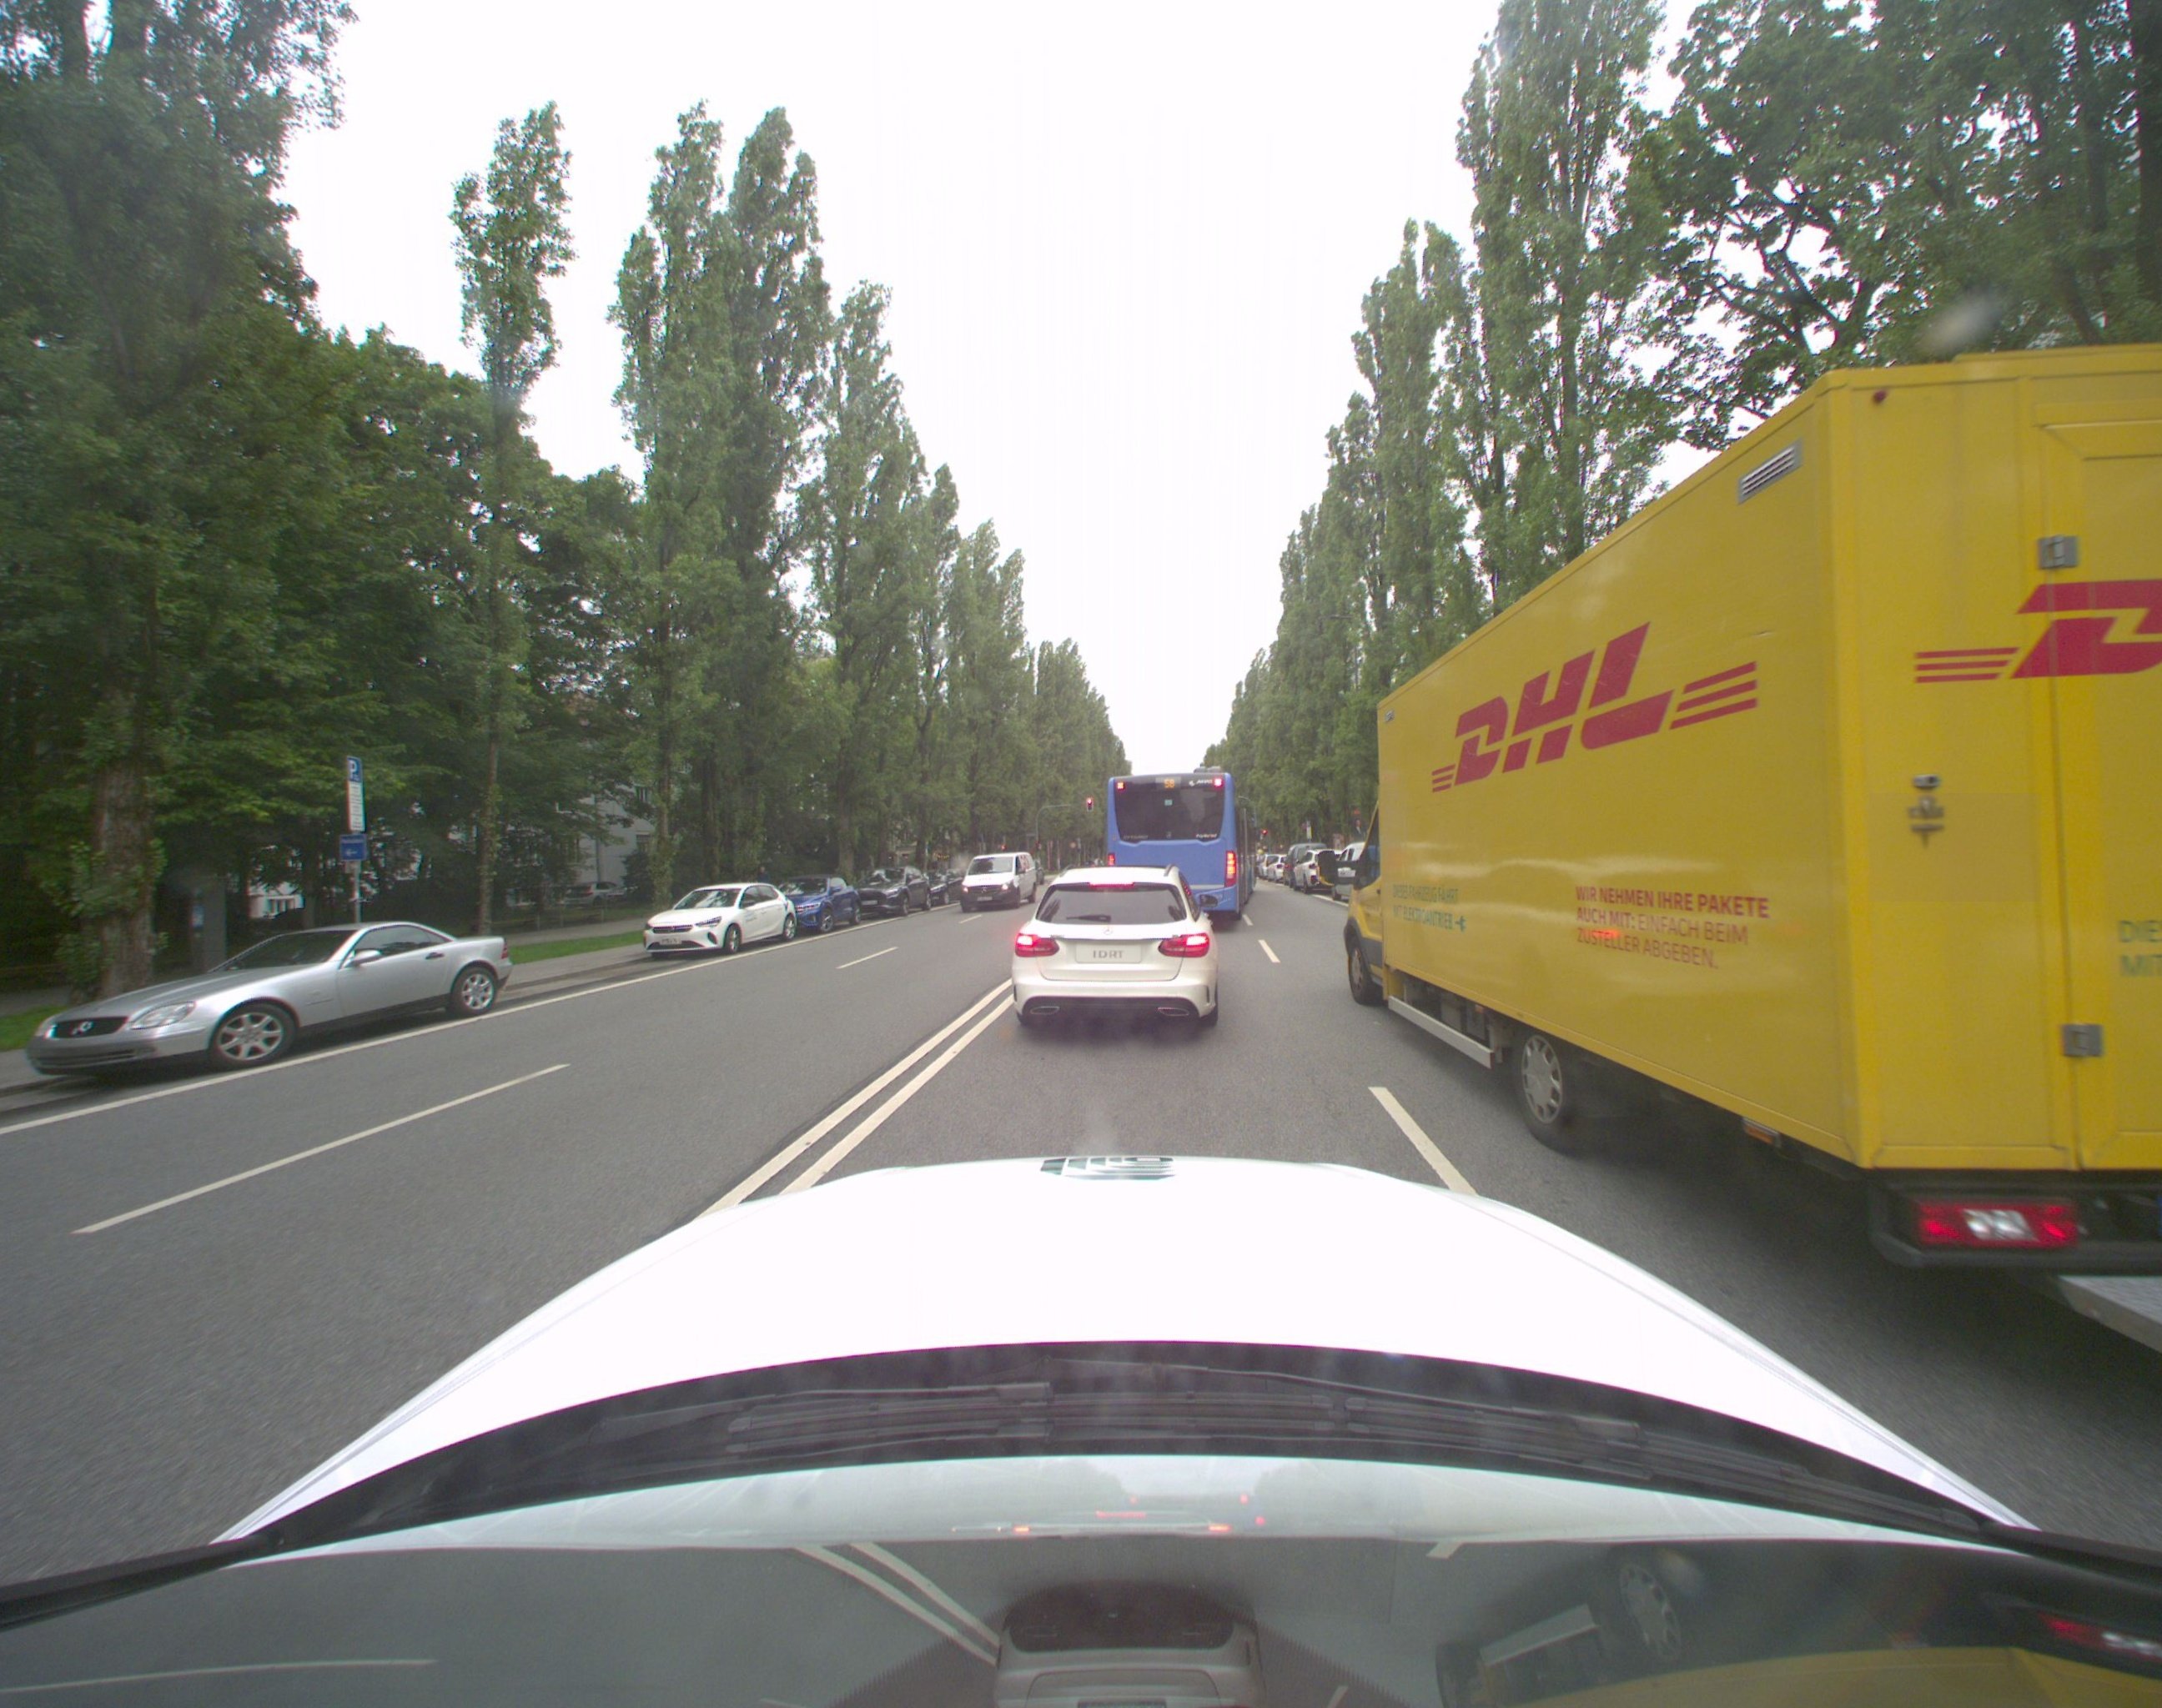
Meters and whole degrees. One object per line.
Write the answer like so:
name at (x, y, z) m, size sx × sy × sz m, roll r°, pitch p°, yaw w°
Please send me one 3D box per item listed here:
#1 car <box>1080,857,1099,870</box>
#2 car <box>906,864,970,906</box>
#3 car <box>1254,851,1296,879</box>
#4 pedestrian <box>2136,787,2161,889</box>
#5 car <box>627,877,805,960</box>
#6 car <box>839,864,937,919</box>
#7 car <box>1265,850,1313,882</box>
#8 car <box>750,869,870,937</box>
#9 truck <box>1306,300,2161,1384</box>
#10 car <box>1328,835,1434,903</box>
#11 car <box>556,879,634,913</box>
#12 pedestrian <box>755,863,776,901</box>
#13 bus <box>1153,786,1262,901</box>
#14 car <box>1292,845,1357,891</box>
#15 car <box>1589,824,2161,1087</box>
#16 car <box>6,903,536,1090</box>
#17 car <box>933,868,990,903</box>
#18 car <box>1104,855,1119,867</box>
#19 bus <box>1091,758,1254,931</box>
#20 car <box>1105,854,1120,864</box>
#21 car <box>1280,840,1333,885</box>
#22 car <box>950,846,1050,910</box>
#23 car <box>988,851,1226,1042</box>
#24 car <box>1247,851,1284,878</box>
car at (1.011, 1.084, 94.775) m, size 1.812 × 1.486 × 4.007 m, roll -2°, pitch 0°, yaw 6°
car at (-5.871, 1.241, 33.822) m, size 1.532 × 1.433 × 3.875 m, roll -5°, pitch -1°, yaw 6°
car at (11.146, 0.581, 47.061) m, size 1.777 × 1.492 × 4.006 m, roll -2°, pitch 0°, yaw 6°
pedestrian at (20.191, -0.313, 14.839) m, size 0.927 × 1.866 × 0.778 m, roll -3°, pitch 0°, yaw 35°
car at (-7.771, 1.315, 17.802) m, size 1.677 × 1.413 × 4.011 m, roll -4°, pitch -1°, yaw 6°
car at (-6.416, 1.200, 27.578) m, size 1.782 × 1.548 × 4.345 m, roll -5°, pitch -1°, yaw 6°
car at (10.649, 0.593, 41.932) m, size 1.790 × 1.475 × 4.006 m, roll -2°, pitch 0°, yaw 5°
car at (-7.254, 1.245, 22.255) m, size 1.737 × 1.518 × 4.119 m, roll -4°, pitch 0°, yaw 1°
truck at (3.509, -0.047, 5.815) m, size 2.316 × 2.898 × 7.343 m, roll -2°, pitch 0°, yaw 5°
car at (8.434, 0.387, 23.286) m, size 1.824 × 1.773 × 4.237 m, roll 0°, pitch 0°, yaw 5°
car at (-28.349, 2.425, 47.642) m, size 1.988 × 1.684 × 4.264 m, roll -3°, pitch 0°, yaw -1°
pedestrian at (-14.851, 1.329, 38.319) m, size 0.596 × 1.739 × 0.641 m, roll -2°, pitch 0°, yaw 6°
bus at (4.789, -0.318, 28.937) m, size 2.851 × 3.304 × 9.826 m, roll -2°, pitch 0°, yaw 14°
car at (9.014, 0.492, 30.441) m, size 1.668 × 1.596 × 4.095 m, roll -1°, pitch 0°, yaw 7°
car at (6.249, 0.582, 6.812) m, size 1.716 × 1.495 × 4.333 m, roll -2°, pitch 0°, yaw 7°
car at (-8.492, 1.382, 9.162) m, size 1.572 × 1.304 × 4.037 m, roll -4°, pitch 0°, yaw 7°
car at (-5.544, 1.417, 38.162) m, size 1.667 × 1.413 × 4.006 m, roll -3°, pitch 0°, yaw 6°
car at (4.238, 0.966, 113.745) m, size 1.812 × 1.486 × 4.007 m, roll -2°, pitch 0°, yaw 6°
bus at (2.665, -0.179, 19.970) m, size 2.836 × 3.213 × 9.092 m, roll -2°, pitch 0°, yaw 13°
car at (4.778, 0.715, 123.087) m, size 1.812 × 1.486 × 4.007 m, roll -2°, pitch 0°, yaw 6°
car at (9.823, 0.331, 35.705) m, size 1.694 × 1.836 × 4.009 m, roll -1°, pitch 0°, yaw 8°
car at (-2.694, 0.773, 28.884) m, size 2.171 × 1.891 × 5.707 m, roll -4°, pitch 0°, yaw 7°
car at (0.500, 0.726, 8.587) m, size 1.815 × 1.454 × 4.592 m, roll -1°, pitch 0°, yaw 8°
car at (11.785, 0.638, 52.194) m, size 1.800 × 1.618 × 4.006 m, roll -2°, pitch 0°, yaw 5°
